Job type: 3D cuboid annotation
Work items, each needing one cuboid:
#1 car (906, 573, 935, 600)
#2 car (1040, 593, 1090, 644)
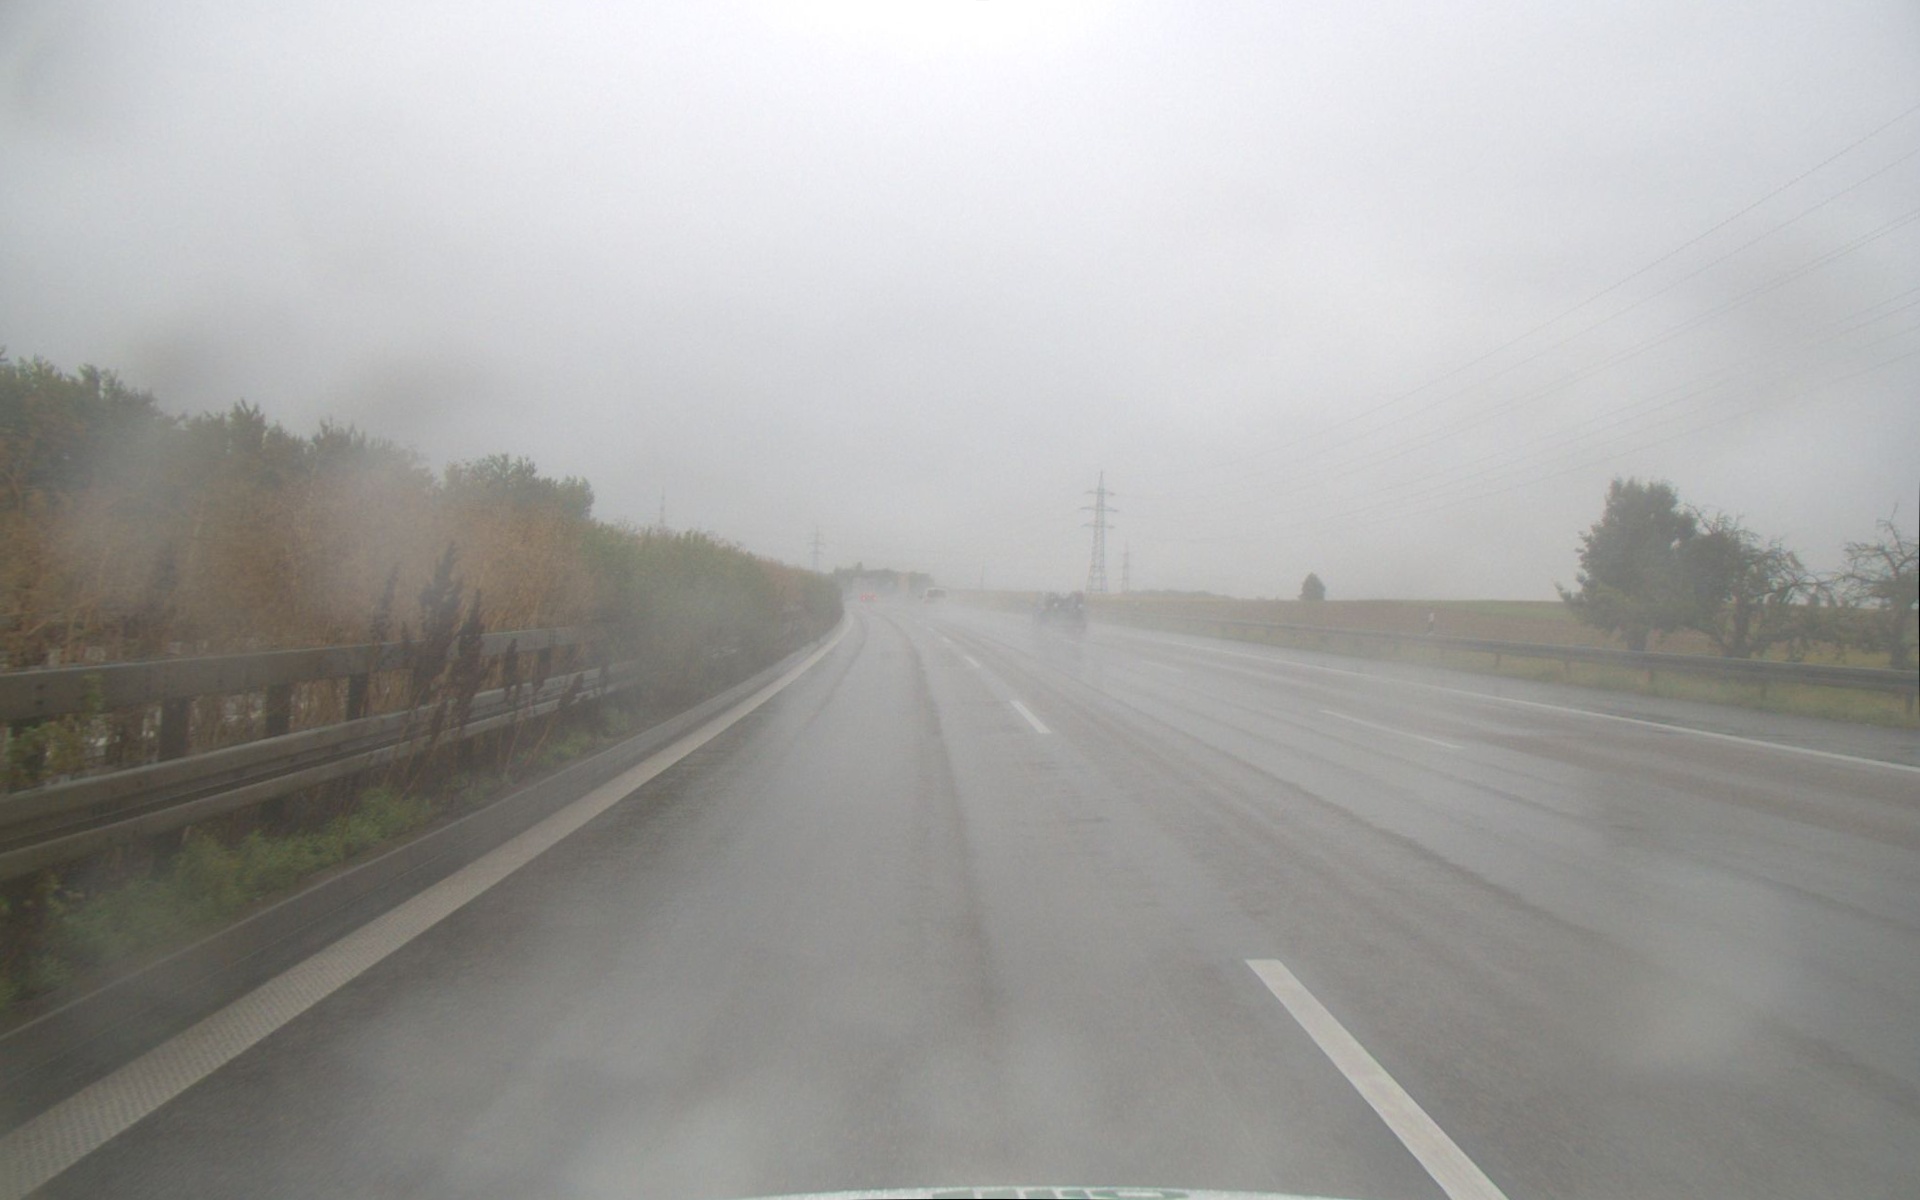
[{"bbox_3d":[-4.859,-1.639,201.411,3.137,3.248,7.250,1,0,-5],"label":"car"},{"bbox_3d":[4.705,0.803,74.496,1.771,2.196,3.998,1,0,-3],"label":"car"}]
